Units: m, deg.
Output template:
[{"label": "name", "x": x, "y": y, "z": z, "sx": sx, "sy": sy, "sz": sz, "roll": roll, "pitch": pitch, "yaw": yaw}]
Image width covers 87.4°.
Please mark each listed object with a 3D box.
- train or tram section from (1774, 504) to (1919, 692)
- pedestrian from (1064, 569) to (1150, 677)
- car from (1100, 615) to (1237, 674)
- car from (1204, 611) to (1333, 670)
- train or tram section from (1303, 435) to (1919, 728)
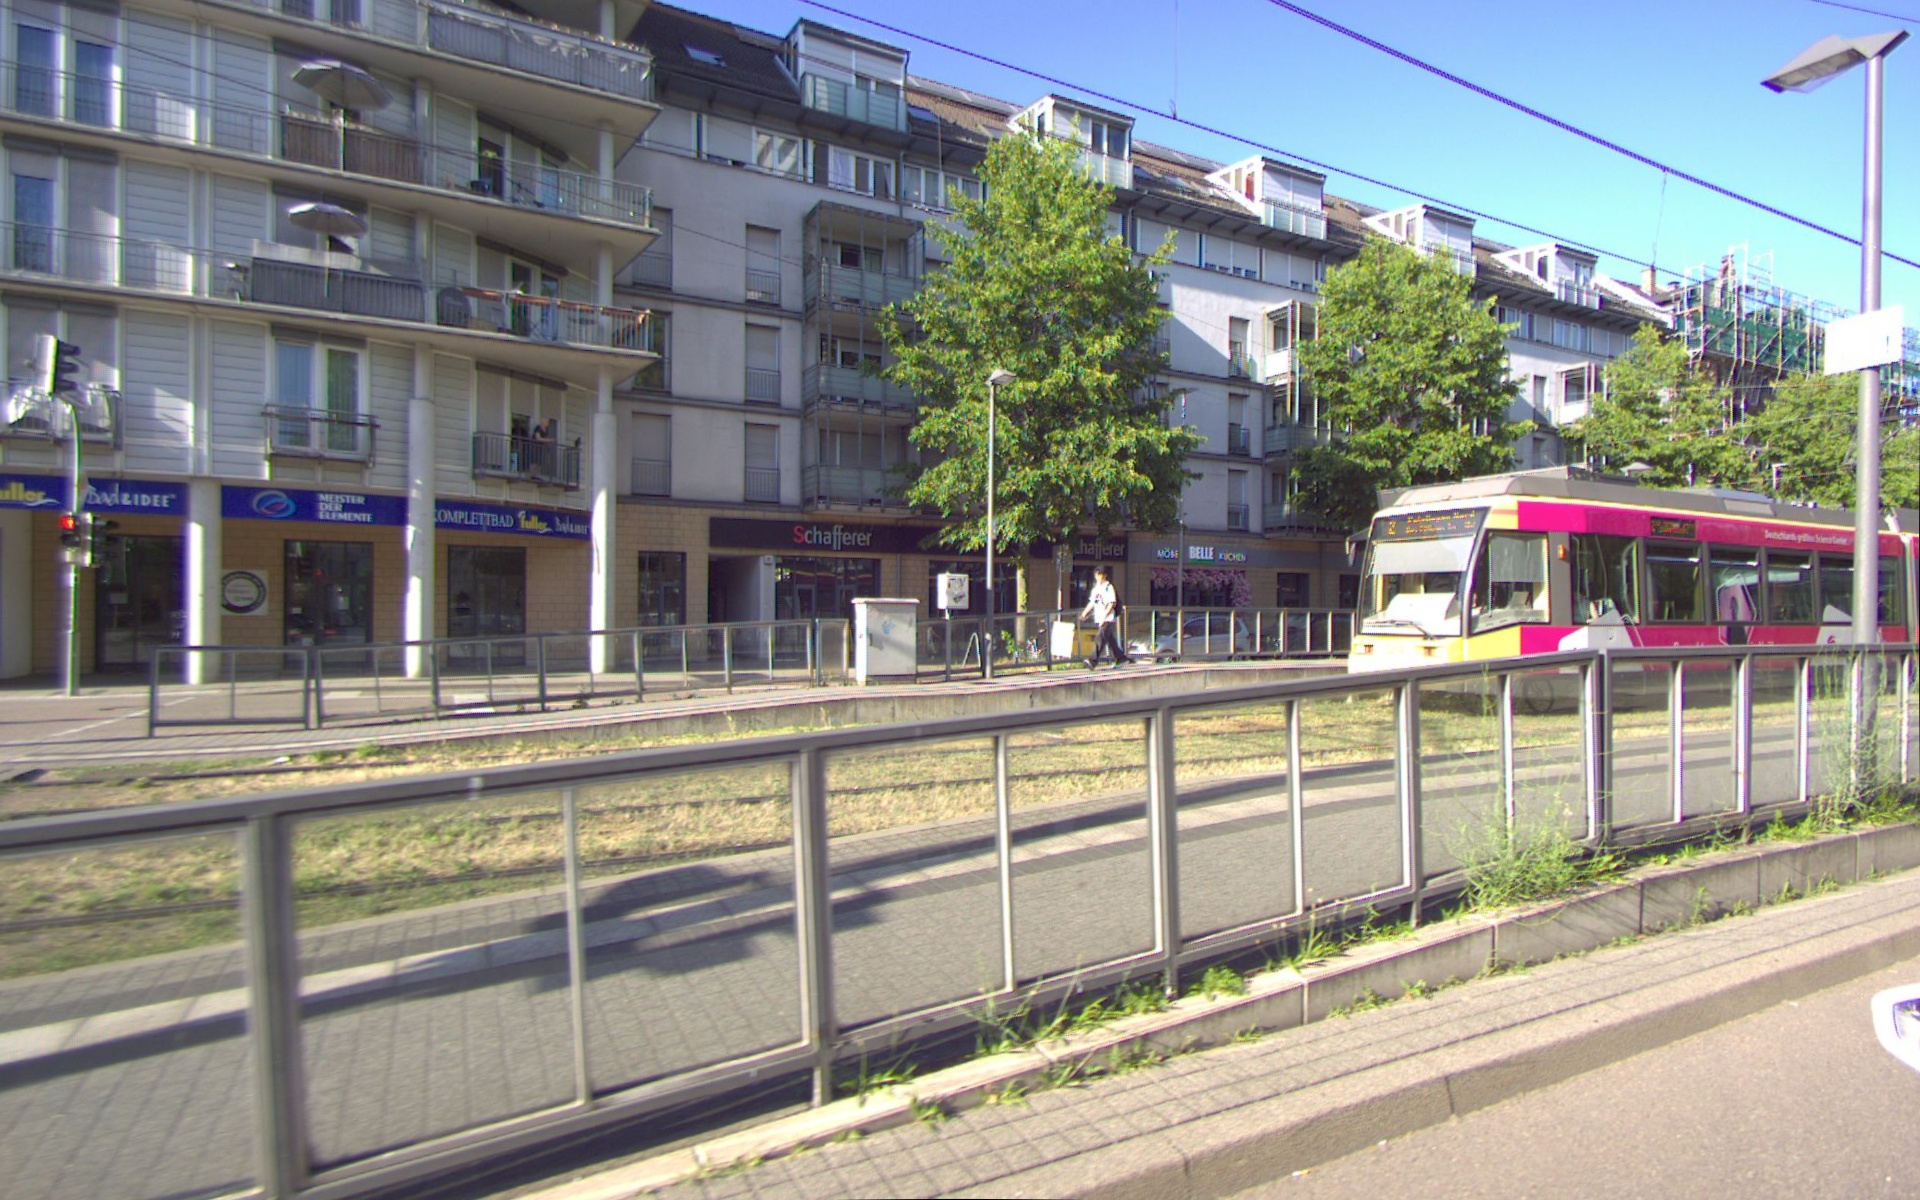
[{"label": "train or tram section", "x": 24.897, "y": 0.048, "z": 24.206, "sx": 14.377, "sy": 3.735, "sz": 2.858, "roll": 1, "pitch": 0, "yaw": -28}, {"label": "pedestrian", "x": 2.276, "y": 0.338, "z": 15.623, "sx": 0.947, "sy": 1.602, "sz": 0.895, "roll": 1, "pitch": 2, "yaw": -30}, {"label": "car", "x": 6.242, "y": 1.288, "z": 30.026, "sx": 3.738, "sy": 1.599, "sz": 1.798, "roll": 1, "pitch": 2, "yaw": -28}, {"label": "car", "x": 9.852, "y": 1.264, "z": 32.030, "sx": 3.738, "sy": 1.700, "sz": 1.798, "roll": 1, "pitch": 2, "yaw": -28}, {"label": "train or tram section", "x": 12.227, "y": -0.145, "z": 17.430, "sx": 14.377, "sy": 3.724, "sz": 2.858, "roll": 1, "pitch": 0, "yaw": -28}]
